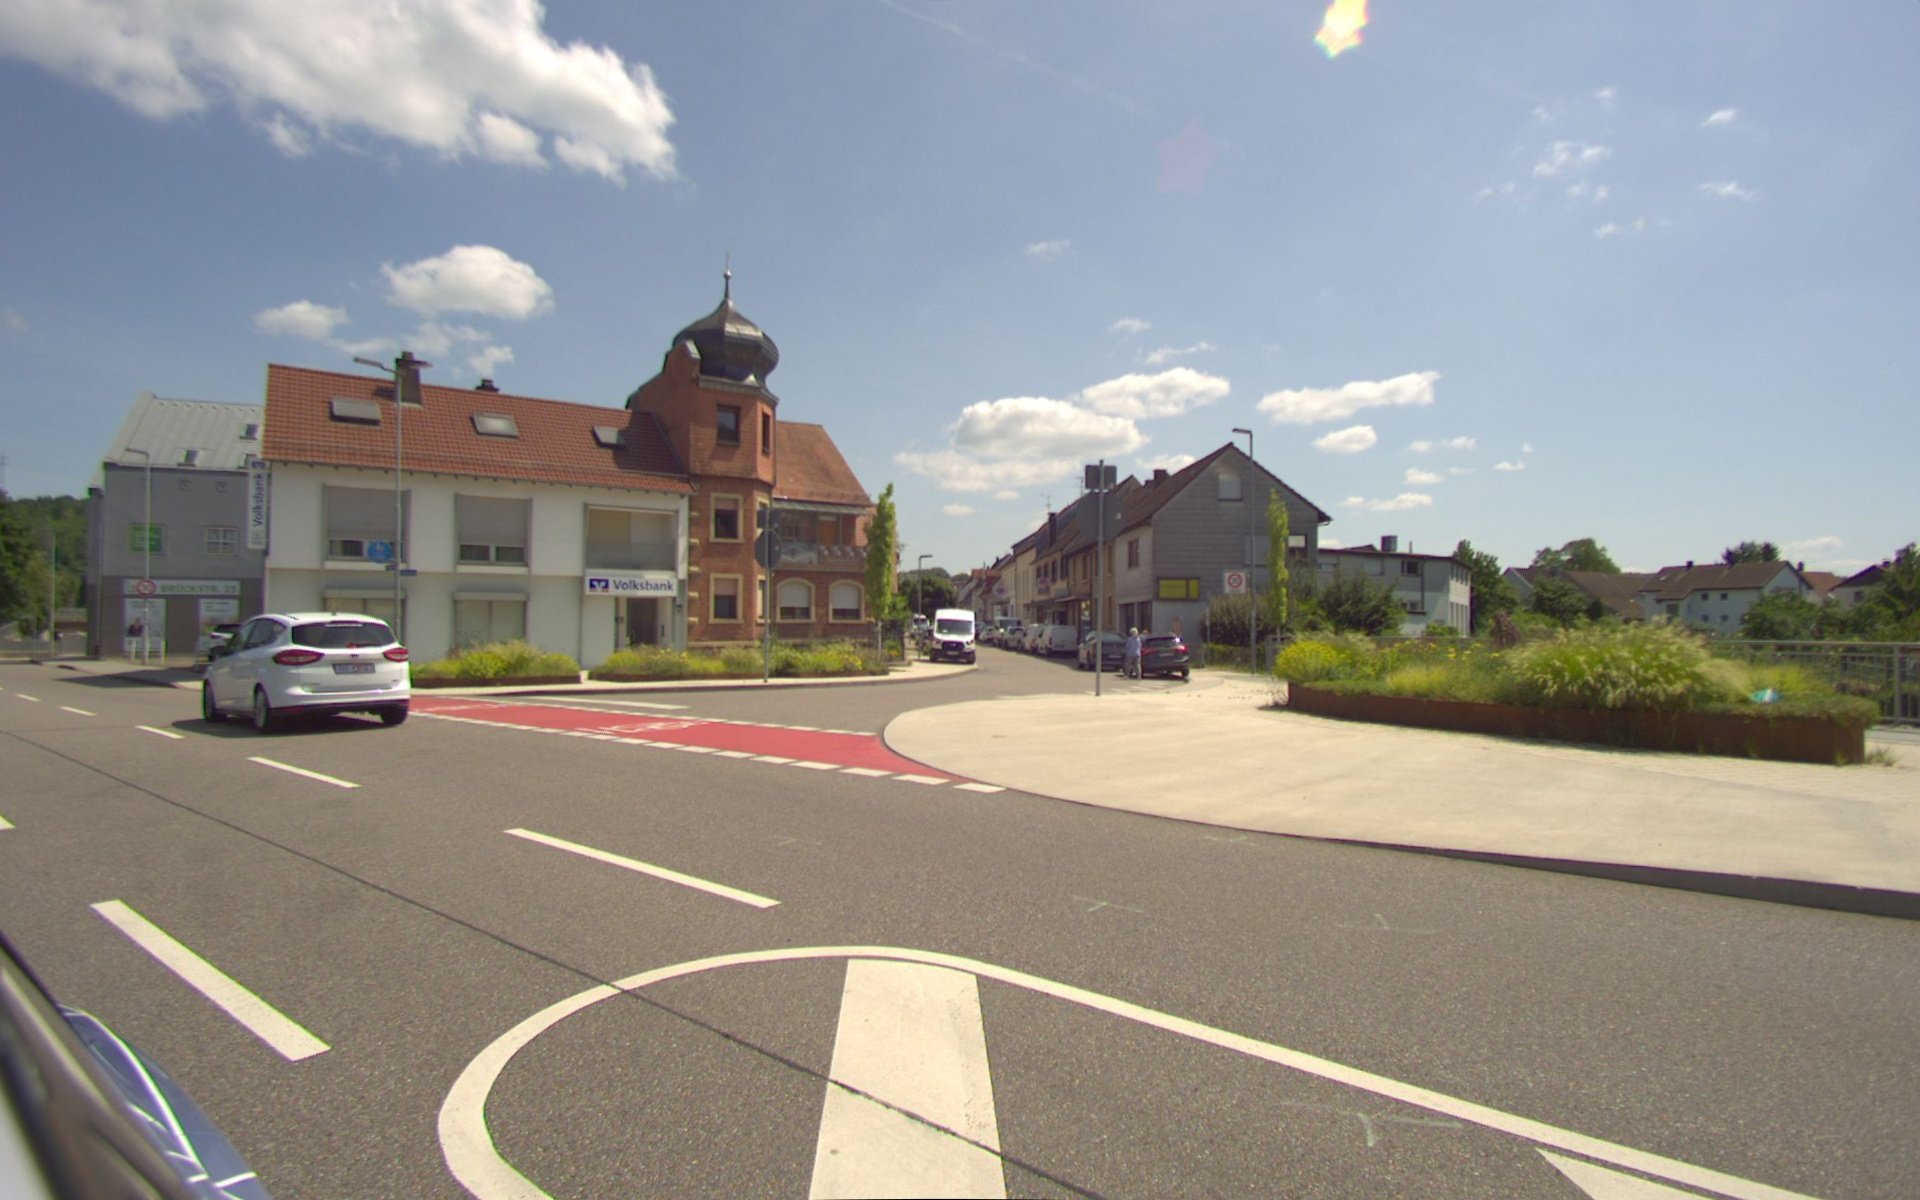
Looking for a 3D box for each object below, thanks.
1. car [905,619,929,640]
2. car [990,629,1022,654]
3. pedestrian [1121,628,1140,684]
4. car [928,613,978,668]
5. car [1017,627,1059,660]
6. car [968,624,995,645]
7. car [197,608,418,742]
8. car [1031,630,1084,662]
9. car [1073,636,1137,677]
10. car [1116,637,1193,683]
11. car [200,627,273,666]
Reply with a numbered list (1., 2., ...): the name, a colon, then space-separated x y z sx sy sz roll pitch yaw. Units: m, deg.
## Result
1. car: -4.397 3.007 102.606 1.968 2.029 4.006 1 -2 -8
2. car: 3.493 3.165 77.183 1.839 1.864 4.005 1 -2 -6
3. pedestrian: 5.471 1.782 32.478 0.500 1.762 0.614 0 -2 4
4. car: -0.268 1.854 46.529 2.144 2.363 5.109 1 -2 1
5. car: 4.730 2.663 62.121 1.894 1.892 4.004 1 -2 -5
6. car: 1.908 3.098 90.859 1.839 1.864 4.005 1 -2 -6
7. car: -9.530 0.964 14.656 4.000 1.662 1.795 -1 -1 43
8. car: 5.429 2.557 56.767 2.036 1.741 4.007 1 -2 -9
9. car: 5.797 2.243 41.023 1.761 1.559 4.236 1 -2 -3
10. car: 6.563 1.992 34.563 1.835 1.475 4.000 0 -2 0
11. car: -31.186 2.029 43.734 1.965 1.587 4.266 2 -3 -28
